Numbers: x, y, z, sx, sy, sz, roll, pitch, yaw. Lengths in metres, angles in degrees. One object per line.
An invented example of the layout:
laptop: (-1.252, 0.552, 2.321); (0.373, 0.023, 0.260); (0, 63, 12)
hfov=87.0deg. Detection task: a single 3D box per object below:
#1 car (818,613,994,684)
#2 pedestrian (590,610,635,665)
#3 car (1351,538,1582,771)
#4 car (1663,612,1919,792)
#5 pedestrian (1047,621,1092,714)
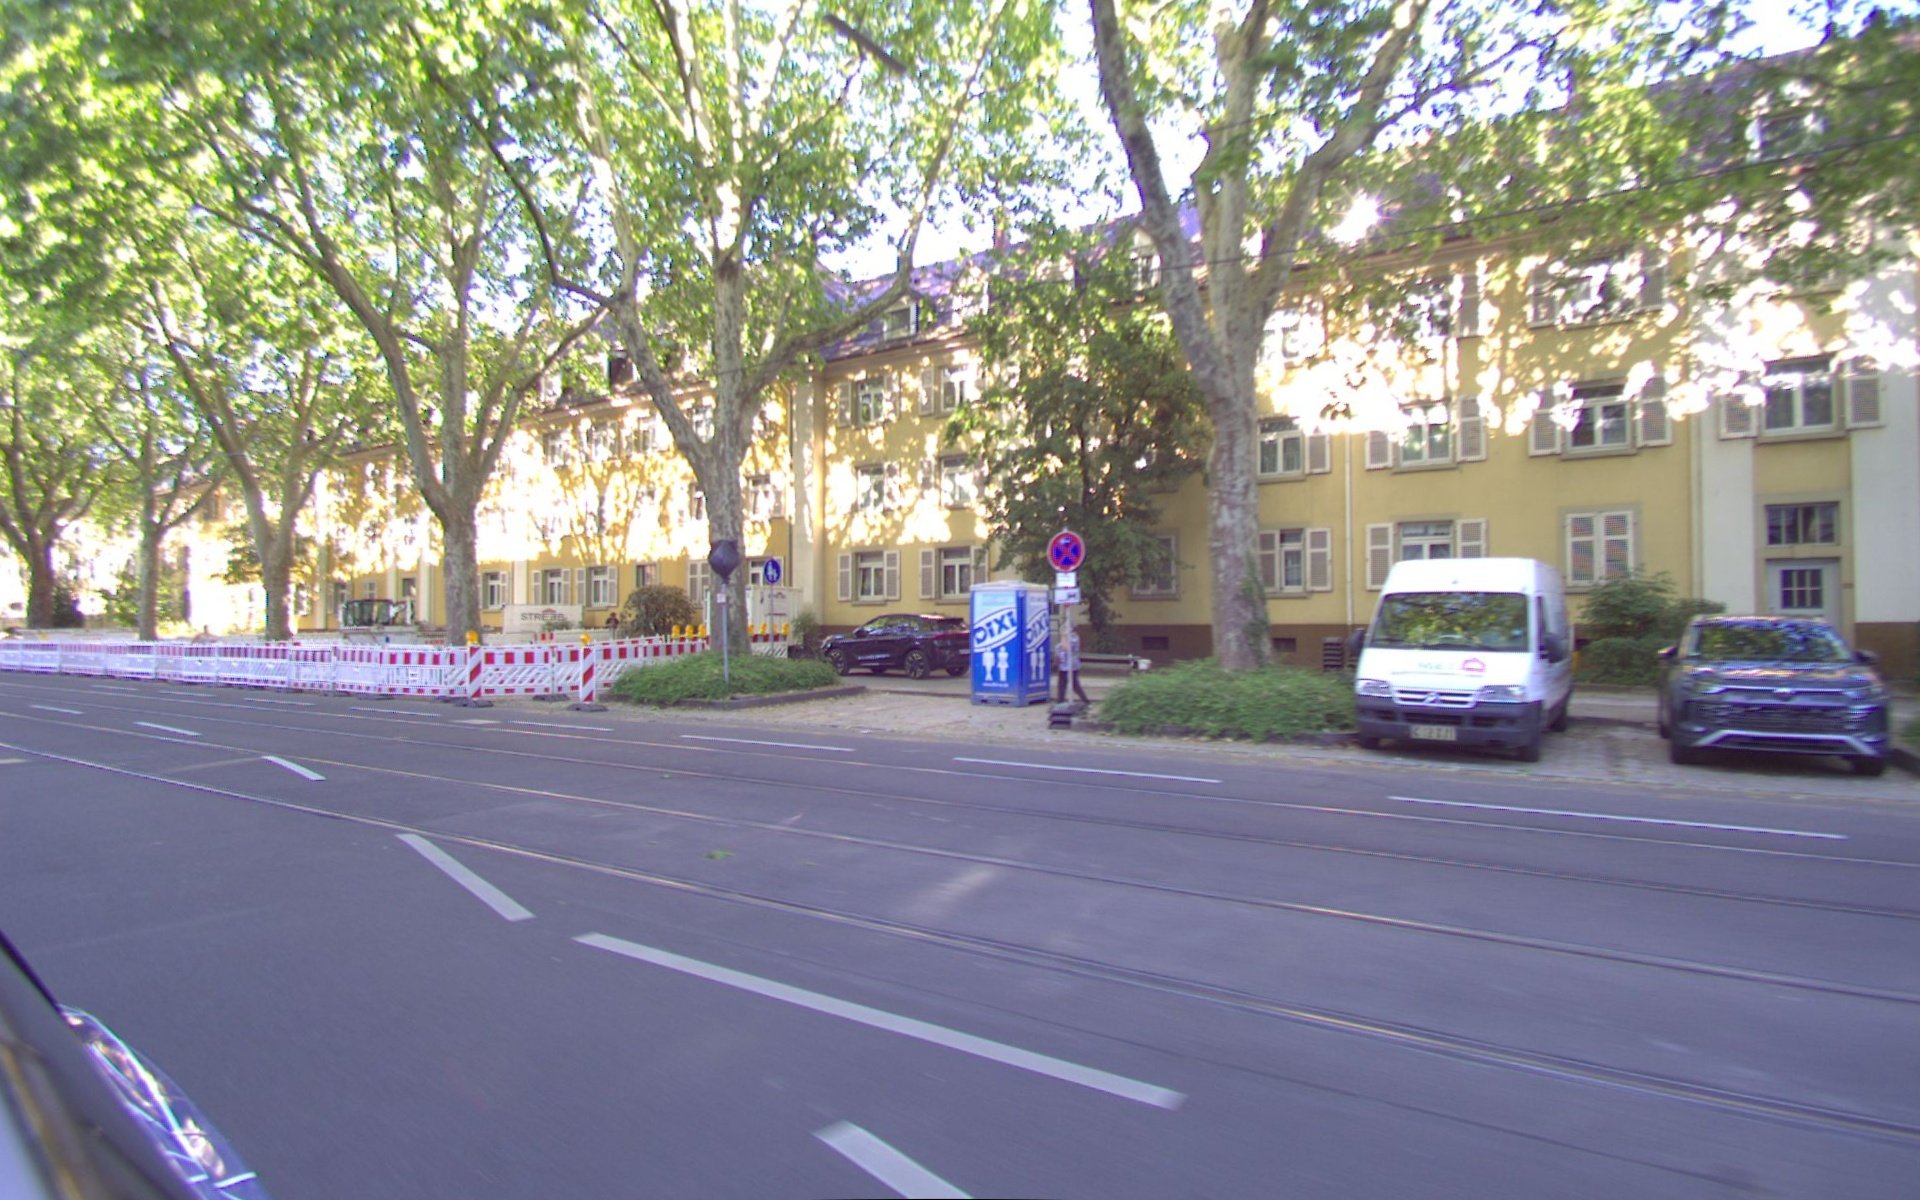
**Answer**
car: (-1.407, 1.172, 25.477); (4.213, 1.613, 1.809); (-2, 0, 36)
pedestrian: (-13.208, 1.417, 38.491); (1.231, 2.029, 1.087); (-1, -2, 31)
car: (6.843, 0.651, 13.285); (2.020, 2.394, 5.551); (-1, -2, 34)
car: (9.337, 0.989, 11.562); (1.964, 1.643, 4.526); (-1, -2, 33)
pedestrian: (1.909, 1.155, 17.595); (0.710, 1.585, 0.594); (-1, -2, 11)
